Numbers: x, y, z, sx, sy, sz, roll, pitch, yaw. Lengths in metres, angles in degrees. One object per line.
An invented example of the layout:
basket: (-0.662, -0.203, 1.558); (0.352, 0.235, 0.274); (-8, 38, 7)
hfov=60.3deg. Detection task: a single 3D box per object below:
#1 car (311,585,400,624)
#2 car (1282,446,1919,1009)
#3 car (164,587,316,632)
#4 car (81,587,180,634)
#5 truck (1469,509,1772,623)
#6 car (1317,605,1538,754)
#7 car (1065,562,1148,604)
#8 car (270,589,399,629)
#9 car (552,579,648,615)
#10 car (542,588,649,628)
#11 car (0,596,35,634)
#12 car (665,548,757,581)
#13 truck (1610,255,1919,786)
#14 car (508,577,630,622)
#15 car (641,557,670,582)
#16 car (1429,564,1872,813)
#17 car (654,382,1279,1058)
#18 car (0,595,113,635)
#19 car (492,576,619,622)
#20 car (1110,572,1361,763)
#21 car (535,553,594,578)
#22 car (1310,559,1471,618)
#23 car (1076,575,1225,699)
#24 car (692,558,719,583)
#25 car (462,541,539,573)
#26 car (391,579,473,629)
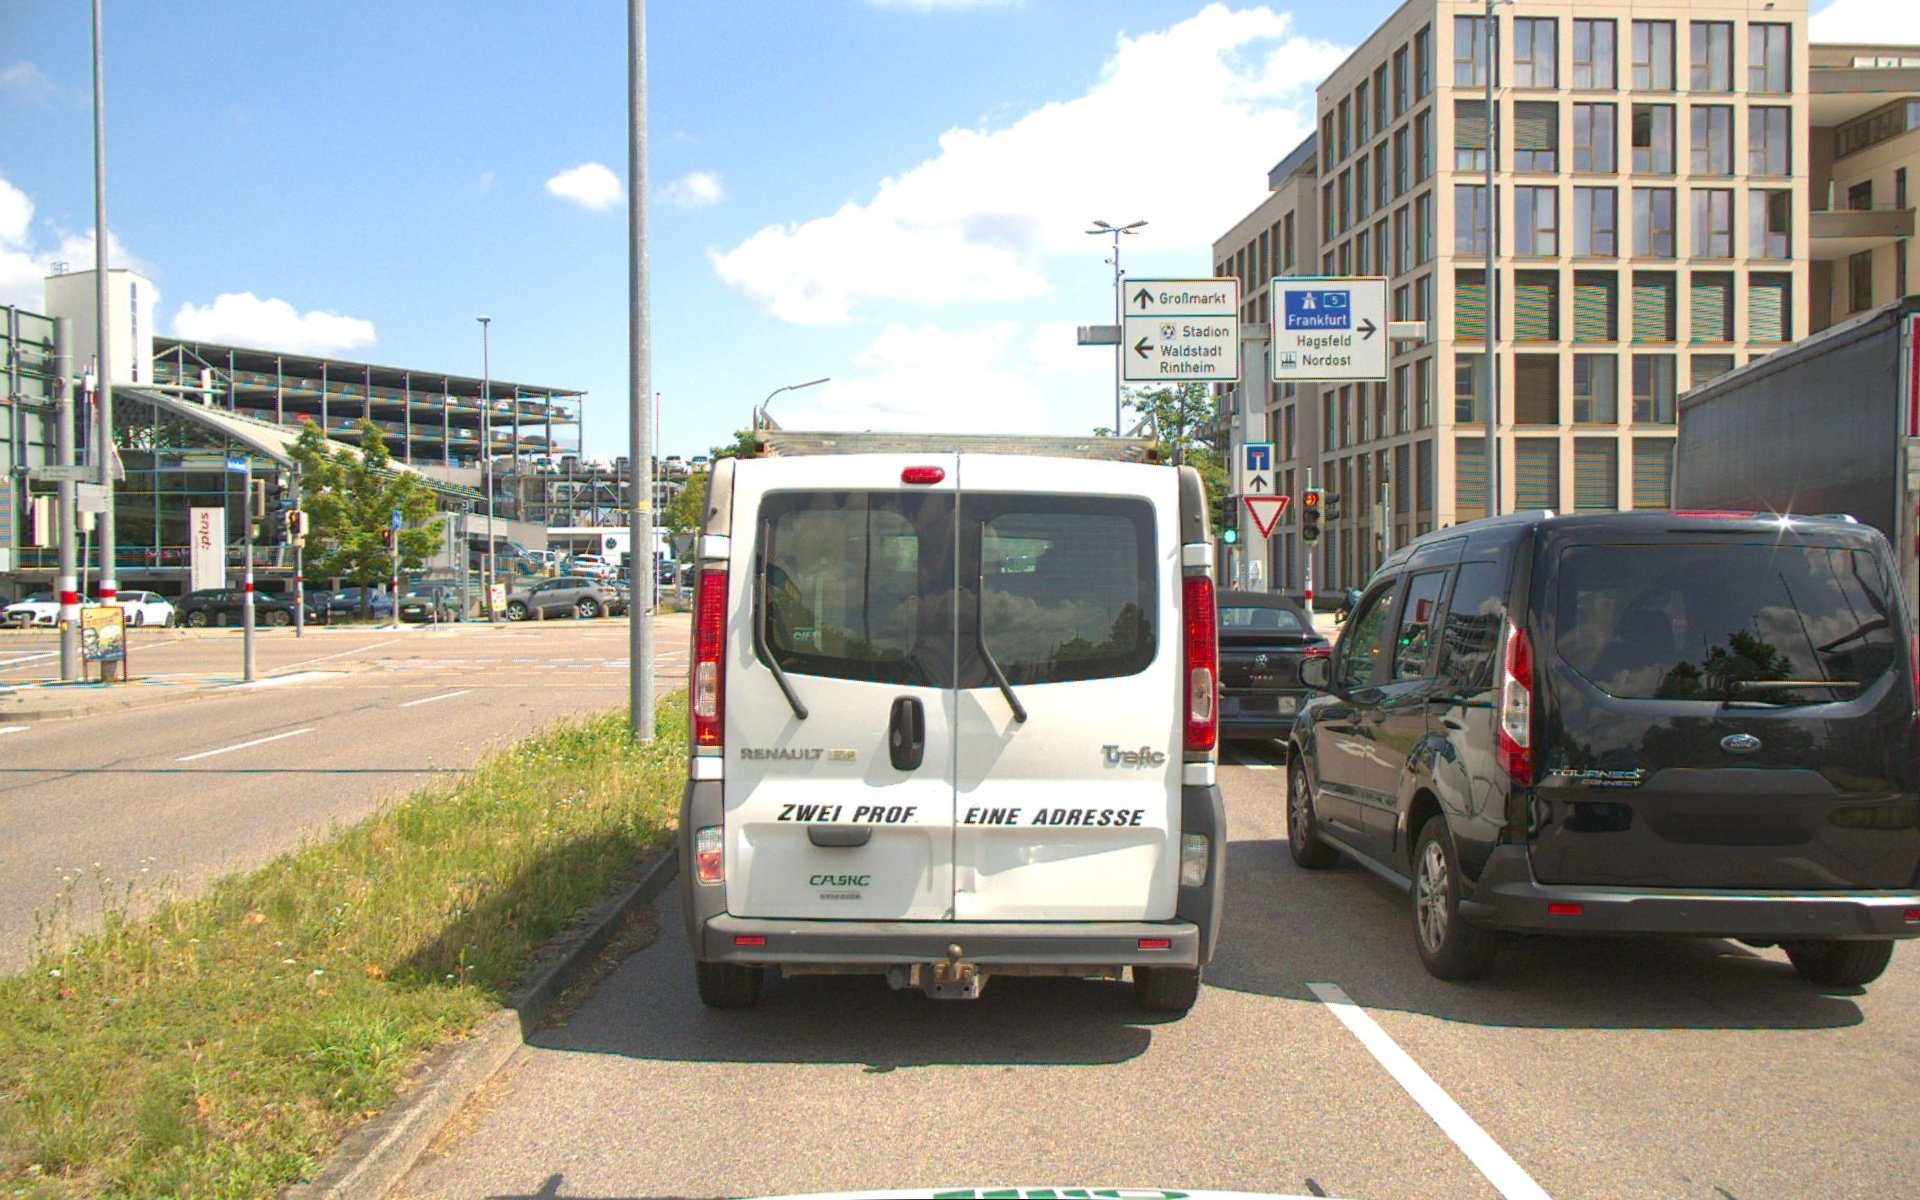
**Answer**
car: (-21.733, 0.154, 59.630); (1.864, 1.320, 4.585); (1, 0, -5)
car: (2.782, 0.431, 7.722); (1.786, 1.938, 4.000); (0, 0, 0)
car: (-25.793, 0.345, 59.386); (4.649, 1.490, 1.793); (-1, -3, -6)
car: (-29.382, 0.393, 58.715); (1.755, 1.490, 3.995); (-1, -2, -5)
truck: (22.530, -1.104, 56.589); (9.568, 3.617, 2.670); (1, 0, -8)
car: (5.862, 0.972, 21.230); (1.820, 1.685, 4.220); (1, -2, 3)
car: (7.596, -0.862, 85.940); (3.913, 2.049, 1.996); (1, 0, -9)
car: (-26.009, 0.382, 68.911); (4.649, 1.537, 1.982); (-1, -3, -6)
car: (-18.205, -0.155, 83.742); (4.484, 1.707, 1.906); (1, 0, -4)
car: (-16.544, 0.353, 75.303); (4.484, 1.707, 1.906); (-1, 2, -4)
car: (-34.640, 0.506, 58.238); (1.864, 1.320, 4.585); (1, 0, -5)
car: (-17.382, -2.449, 115.702); (6.264, 2.139, 1.763); (1, 0, -6)
truck: (9.399, -0.563, 17.030); (3.143, 4.098, 9.078); (1, 0, 9)
car: (-15.686, -0.008, 66.602); (4.484, 1.707, 1.906); (1, 0, -4)
car: (-19.984, -2.002, 108.694); (1.531, 1.579, 3.598); (1, 0, -6)
car: (5.352, 0.624, 13.482); (1.821, 1.684, 4.218); (1, -1, 0)
car: (-0.008, 0.364, 7.430); (1.933, 2.096, 4.564); (0, 0, -1)
car: (-31.978, 0.512, 58.633); (1.864, 1.320, 4.585); (1, 0, -5)
car: (-15.715, -0.025, 64.432); (4.484, 1.707, 1.906); (1, 0, -4)
car: (2.583, 0.580, 16.405); (1.738, 1.658, 3.999); (0, 0, -1)
car: (-27.623, -2.407, 115.564); (3.917, 1.579, 1.759); (1, 0, -13)
car: (14.509, -0.371, 55.827); (4.883, 1.870, 1.996); (1, 0, -8)
car: (2.707, 0.484, 24.261); (1.737, 1.658, 4.000); (0, 0, 0)
car: (-16.675, -1.906, 108.299); (1.531, 1.579, 3.598); (1, 0, -6)
car: (-28.646, -2.681, 103.146); (4.356, 1.833, 1.762); (1, 0, -7)
car: (-19.068, 0.142, 59.917); (1.864, 1.707, 4.585); (1, 0, -5)
